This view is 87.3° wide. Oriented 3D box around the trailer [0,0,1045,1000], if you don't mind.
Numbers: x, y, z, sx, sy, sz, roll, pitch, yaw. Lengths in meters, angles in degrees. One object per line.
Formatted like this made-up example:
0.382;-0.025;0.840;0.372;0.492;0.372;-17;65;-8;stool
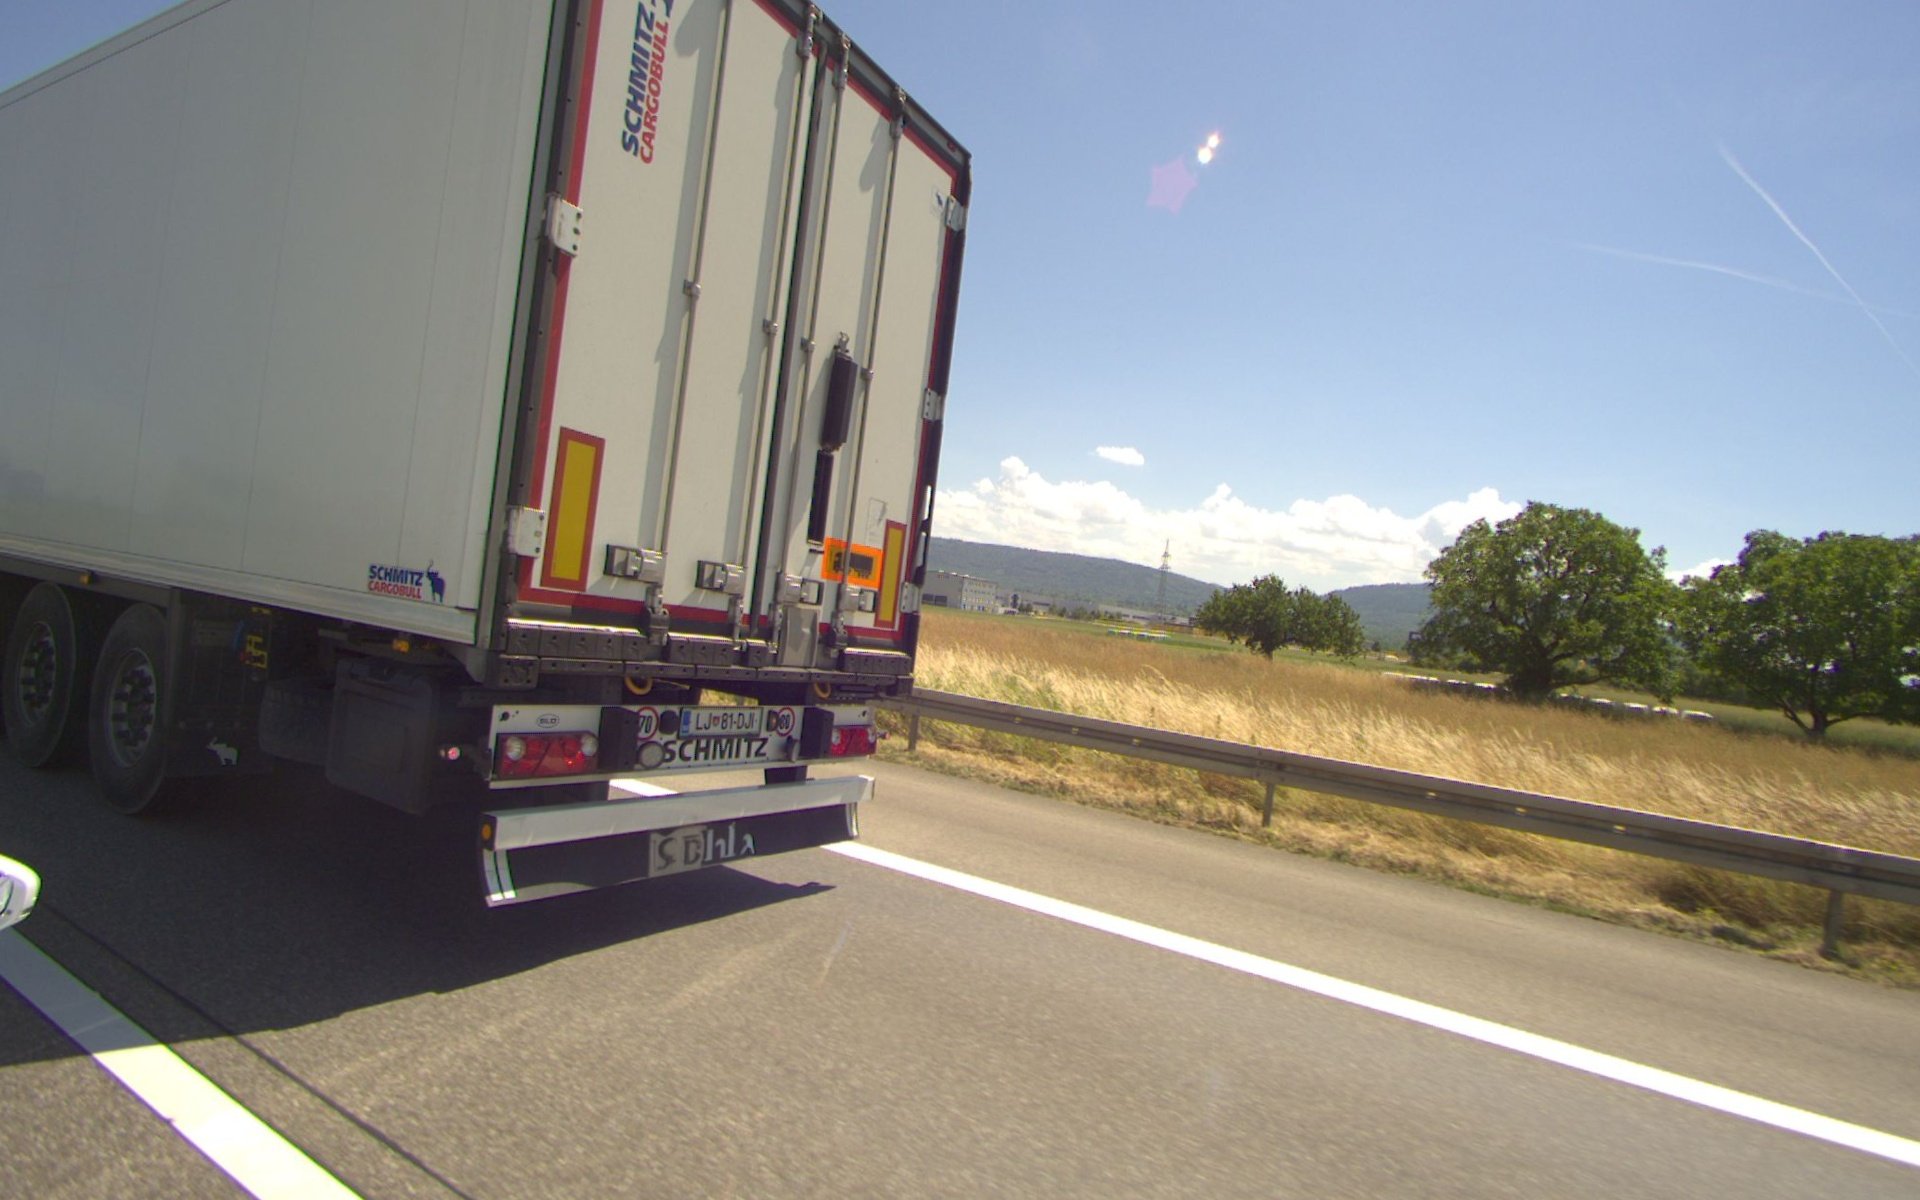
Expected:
-6.269;-1.435;8.084;13.401;4.396;3.224;7;-1;31;trailer

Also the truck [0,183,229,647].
-12.123;-2.142;11.676;6.480;4.396;3.224;7;-1;31;truck
